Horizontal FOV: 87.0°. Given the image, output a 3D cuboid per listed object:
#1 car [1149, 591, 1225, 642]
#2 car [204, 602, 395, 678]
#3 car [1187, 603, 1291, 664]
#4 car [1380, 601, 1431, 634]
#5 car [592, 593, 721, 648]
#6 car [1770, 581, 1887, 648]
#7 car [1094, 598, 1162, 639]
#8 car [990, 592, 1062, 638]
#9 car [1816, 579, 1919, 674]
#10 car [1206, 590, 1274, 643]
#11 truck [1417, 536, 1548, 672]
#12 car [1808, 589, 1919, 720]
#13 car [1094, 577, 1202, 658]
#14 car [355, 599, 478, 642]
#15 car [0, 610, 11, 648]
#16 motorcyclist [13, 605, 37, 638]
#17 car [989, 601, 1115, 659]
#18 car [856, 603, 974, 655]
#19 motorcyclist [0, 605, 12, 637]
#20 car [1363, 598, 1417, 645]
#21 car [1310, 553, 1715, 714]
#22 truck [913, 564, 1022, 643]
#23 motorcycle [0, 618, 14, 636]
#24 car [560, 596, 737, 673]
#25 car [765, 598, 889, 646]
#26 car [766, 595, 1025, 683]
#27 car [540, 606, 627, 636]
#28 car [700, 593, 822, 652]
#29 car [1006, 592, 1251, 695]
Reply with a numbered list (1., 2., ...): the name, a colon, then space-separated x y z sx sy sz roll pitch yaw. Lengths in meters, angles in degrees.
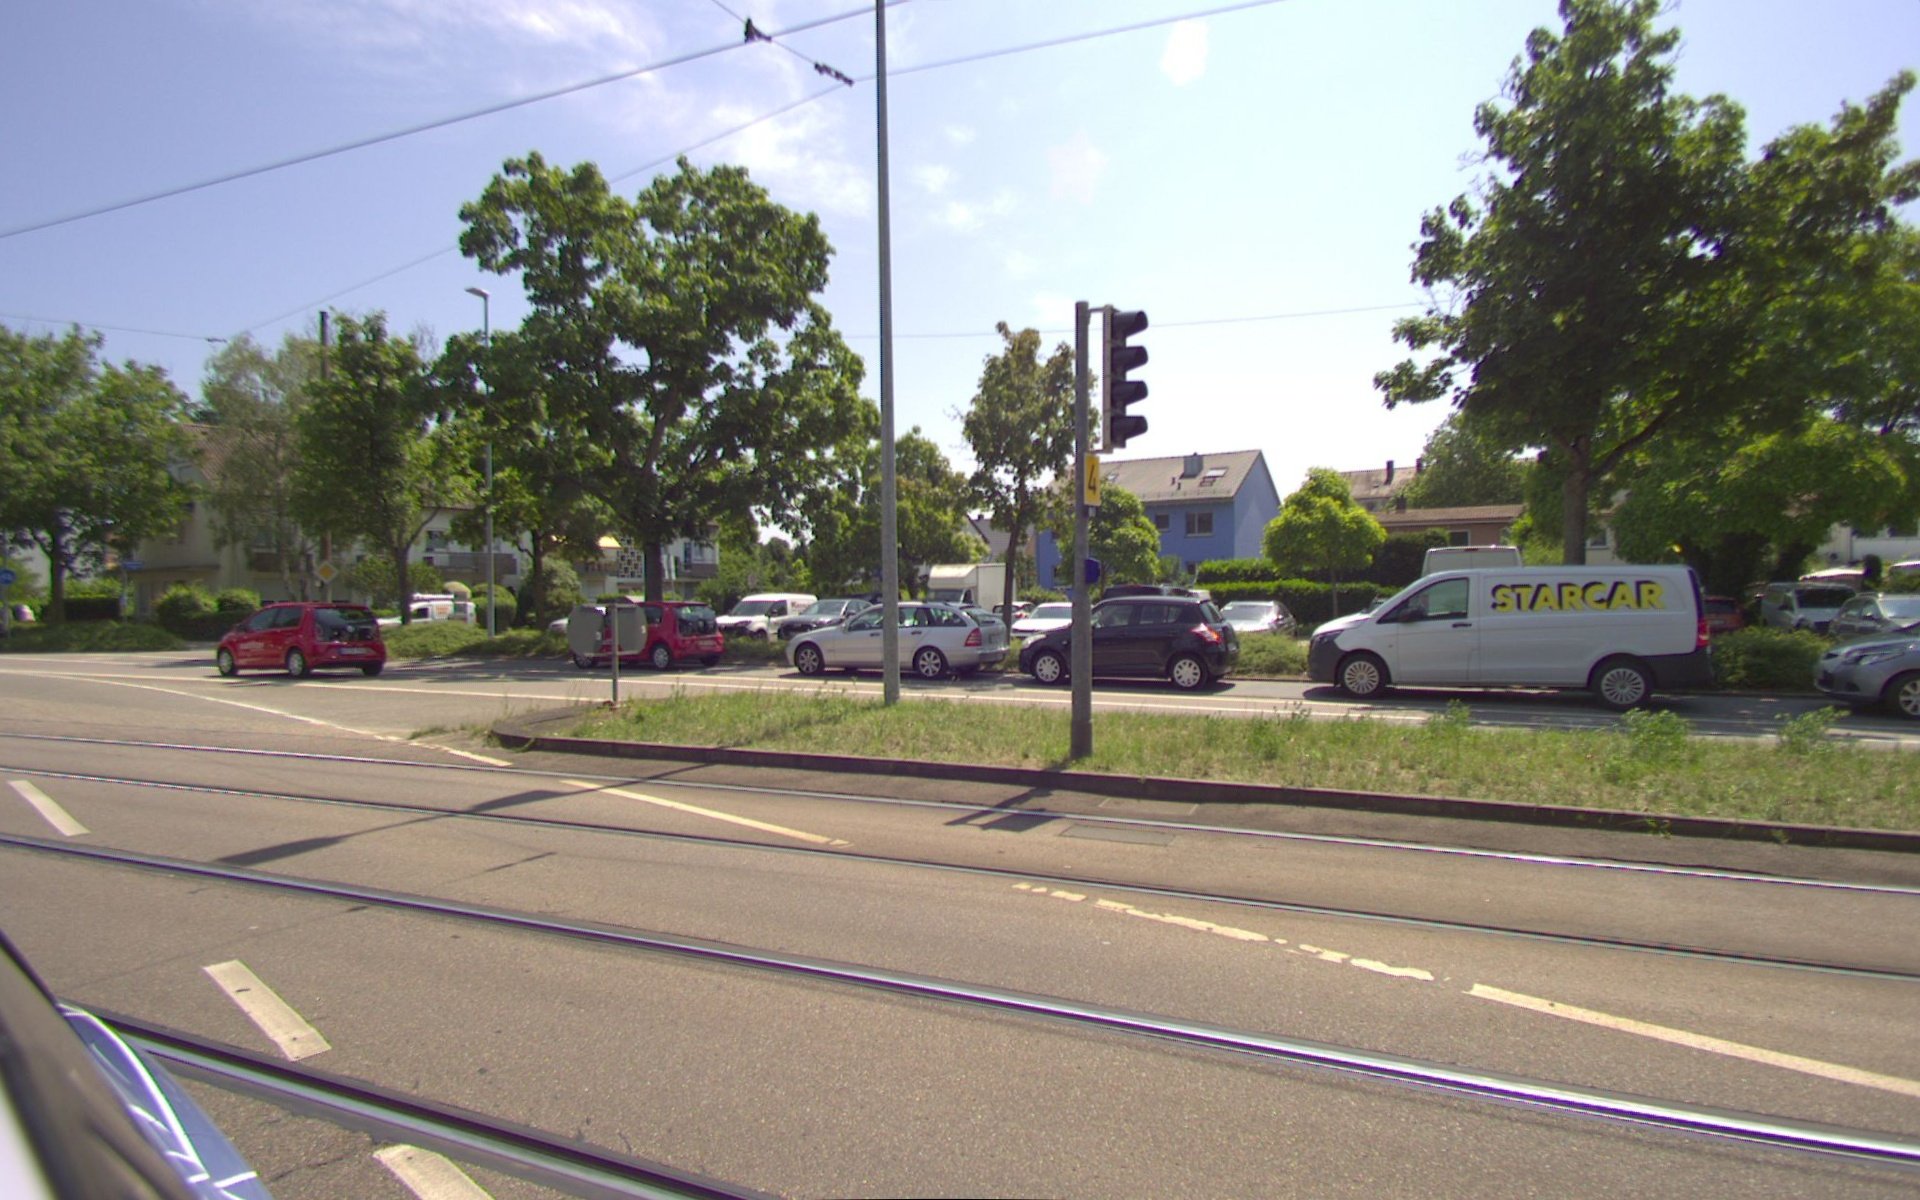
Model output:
1. car: 8.787 0.592 38.947 1.961 1.834 4.104 0 1 26
2. car: -13.261 0.773 20.312 3.588 1.420 1.647 -1 -1 27
3. car: 7.220 0.787 25.901 1.846 1.422 4.187 -1 -1 26
4. car: 17.612 0.668 39.942 1.503 1.179 3.721 -1 0 29
5. car: -10.887 0.717 36.650 2.050 1.871 4.423 -1 -1 26
6. car: 25.578 0.367 29.943 1.771 1.834 4.101 -1 0 29
7. car: 6.952 0.738 41.643 1.724 1.587 3.725 -1 0 26
8. car: 2.889 0.604 43.588 1.638 1.834 4.104 -1 0 26
9. car: 19.324 0.491 20.601 1.846 1.779 4.187 -1 -1 26
10. car: 10.611 0.583 38.143 1.731 1.834 4.104 -1 0 26
11. truck: 12.274 0.098 23.777 2.421 2.780 5.543 -1 -1 28
12. car: 12.575 0.617 11.854 3.821 1.450 1.397 -1 3 28
13. car: 5.142 0.455 27.317 1.846 2.010 4.187 -1 -1 26
14. car: -22.432 0.813 41.864 1.741 1.719 4.176 -1 -1 42
15. car: -39.831 1.162 39.901 4.782 1.467 1.884 -1 1 25
16. motorcyclist: -43.764 1.016 47.384 0.659 1.514 0.583 -1 2 28
17. car: 2.722 0.797 28.654 2.047 1.500 4.735 -1 0 26
18. car: -1.351 0.884 32.294 1.924 1.520 4.094 -1 -1 29
19. motorcyclist: -46.084 0.995 48.577 0.722 1.514 0.583 -1 2 28
20. car: 15.525 0.729 36.476 1.502 1.530 4.103 -1 0 27
21. car: 7.680 0.399 14.487 4.786 1.951 1.850 -1 3 30
22. truck: 0.481 0.109 45.106 2.139 3.252 6.940 -1 0 25
23. motorcycle: -46.094 1.313 48.598 1.365 0.831 0.522 -1 2 29
24. car: -6.913 0.703 22.382 3.712 1.557 1.660 0 1 30
25. car: -4.118 0.670 31.956 2.068 1.414 4.177 -1 0 23
26. car: -1.272 0.706 19.521 4.744 1.437 1.710 -1 3 26
27. car: -18.710 1.022 50.386 1.542 1.404 3.860 -1 -1 36
28. car: -6.524 0.713 33.616 1.665 1.849 4.240 -1 -1 28
29. car: 2.842 0.681 17.183 3.769 1.495 1.604 -1 3 30
